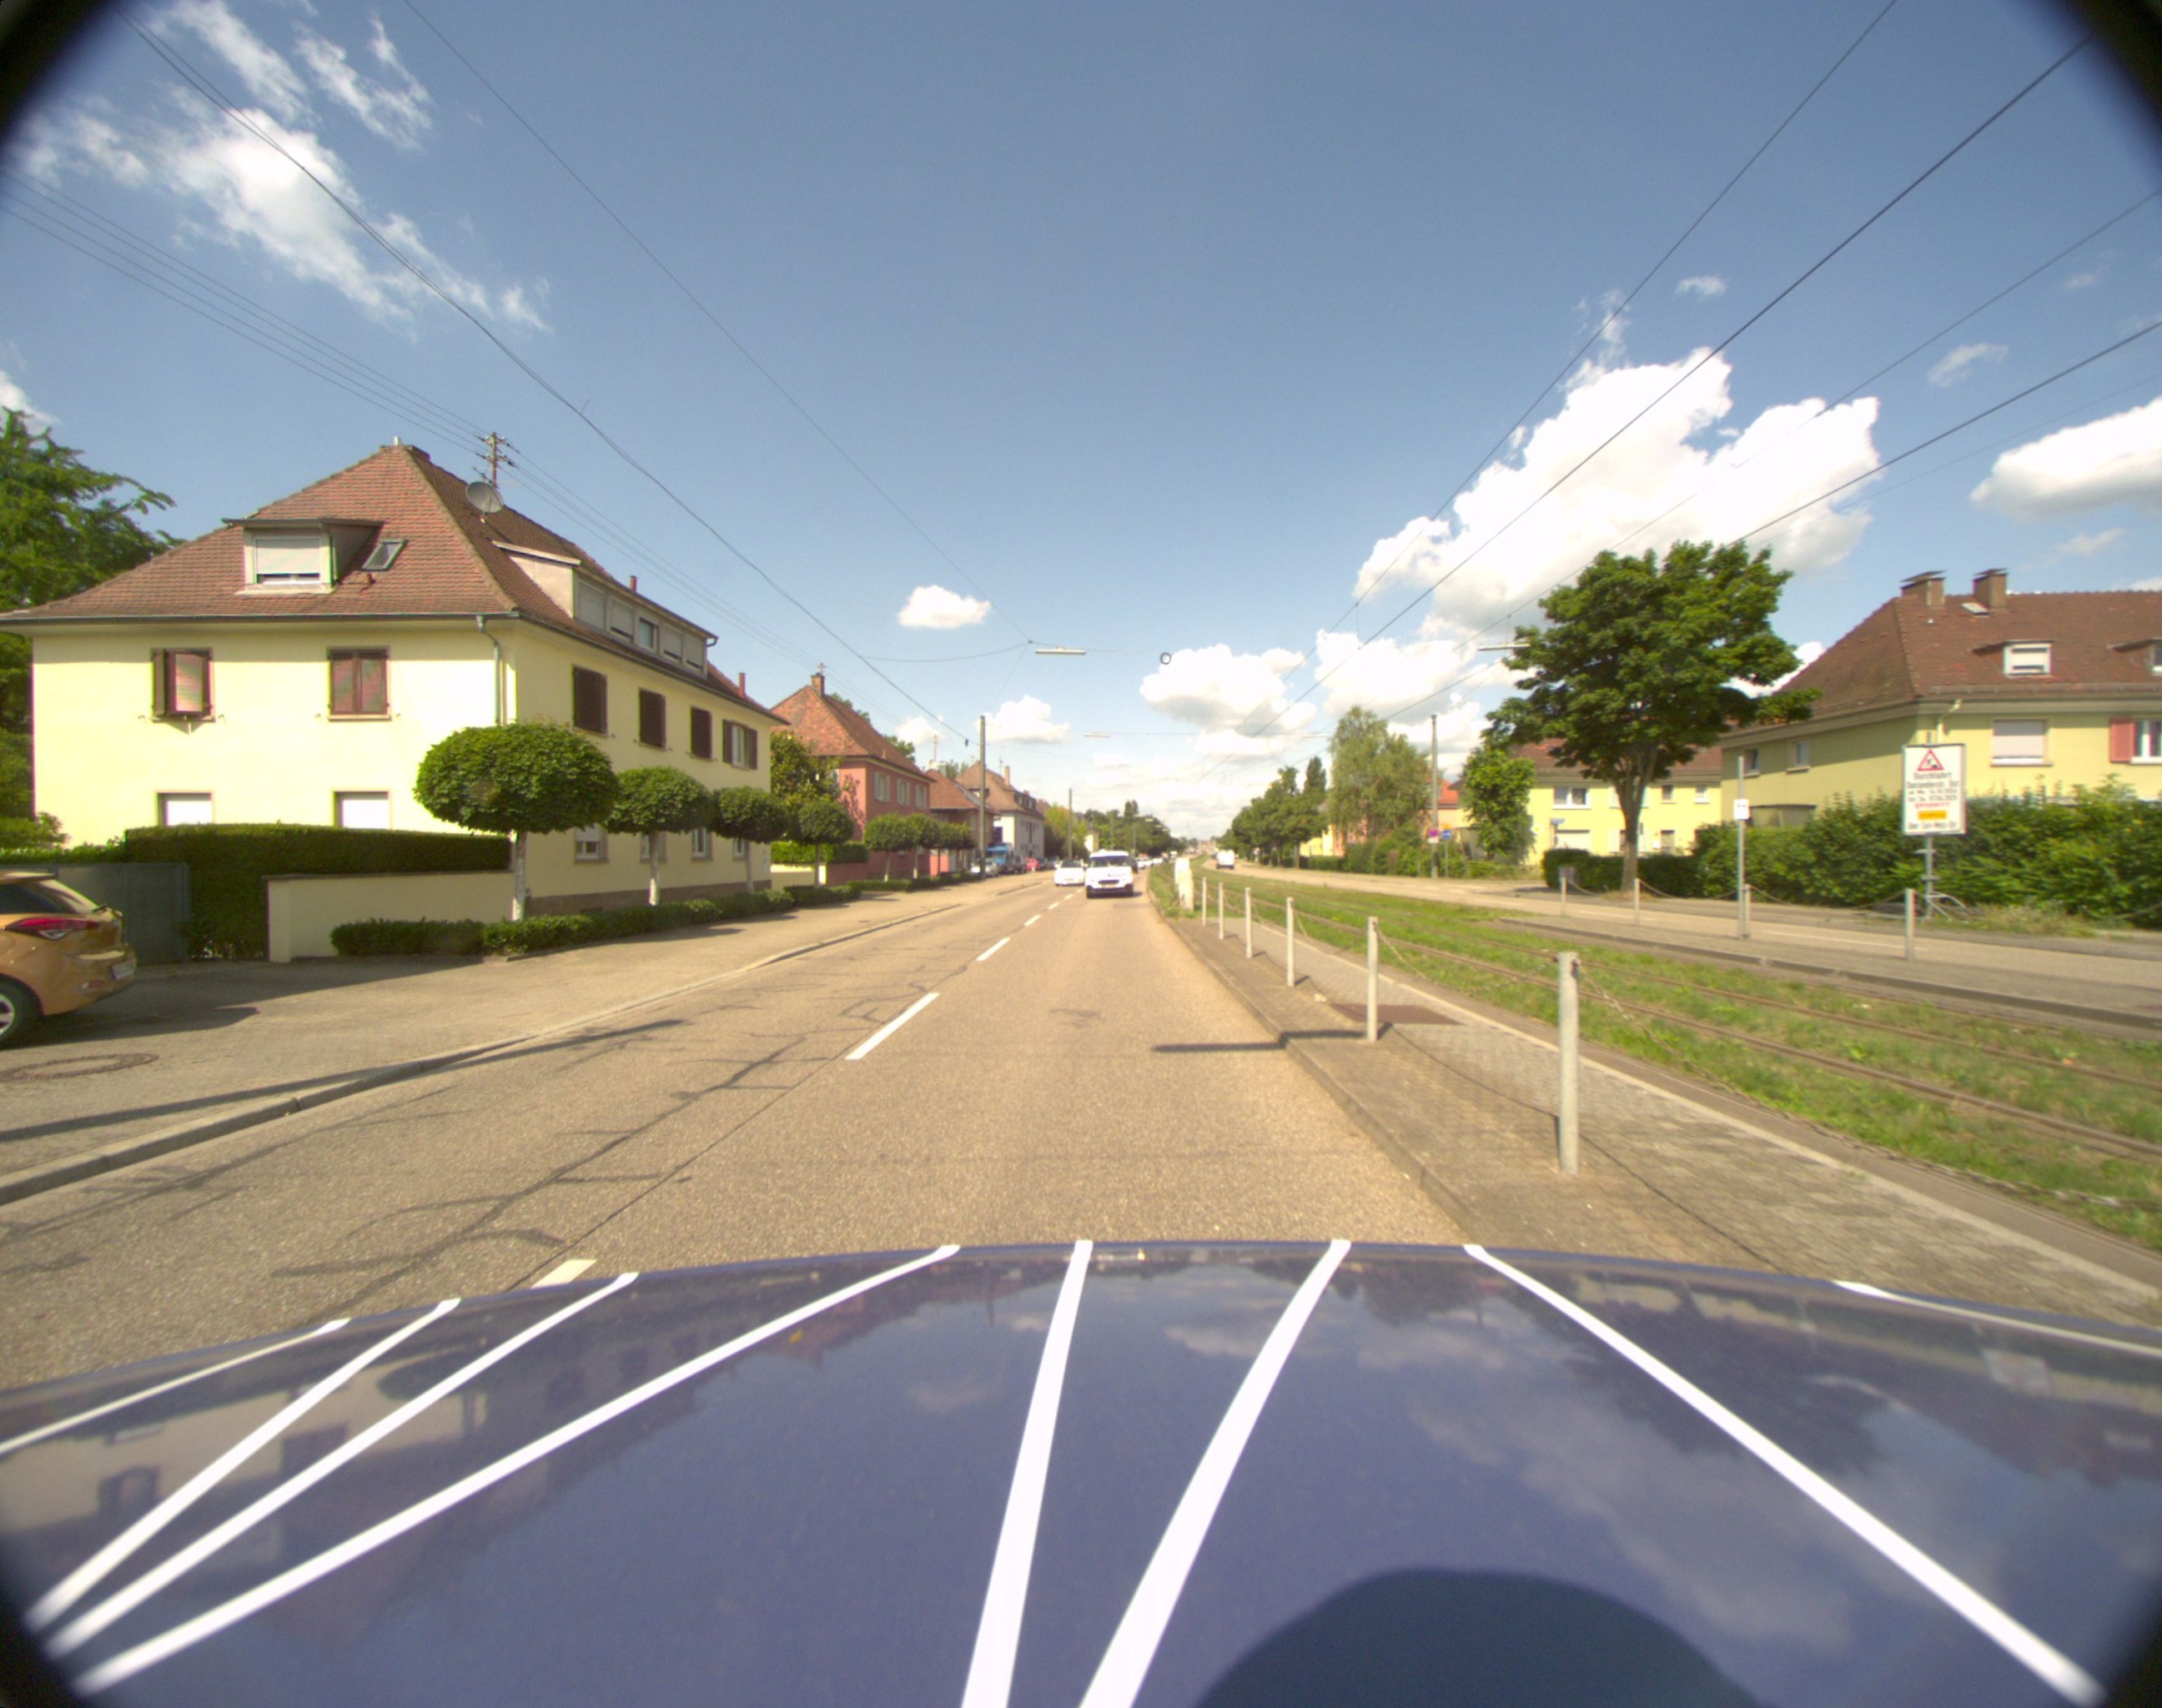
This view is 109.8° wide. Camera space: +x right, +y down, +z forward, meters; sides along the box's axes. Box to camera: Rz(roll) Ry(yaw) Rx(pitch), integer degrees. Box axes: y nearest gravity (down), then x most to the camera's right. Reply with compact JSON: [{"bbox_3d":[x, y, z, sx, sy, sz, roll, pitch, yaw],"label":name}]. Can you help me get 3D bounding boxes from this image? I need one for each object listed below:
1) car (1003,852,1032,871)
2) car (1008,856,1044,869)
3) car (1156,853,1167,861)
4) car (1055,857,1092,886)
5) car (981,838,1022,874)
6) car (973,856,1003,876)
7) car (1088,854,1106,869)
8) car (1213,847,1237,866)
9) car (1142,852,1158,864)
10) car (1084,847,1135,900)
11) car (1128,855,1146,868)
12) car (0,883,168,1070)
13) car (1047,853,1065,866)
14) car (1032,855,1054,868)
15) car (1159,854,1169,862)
[{"bbox_3d":[-5.916,0.698,71.475,1.840,1.701,4.866,2,0,5],"label":"car"},{"bbox_3d":[-5.944,0.913,81.793,3.657,1.372,1.727,-1,1,4],"label":"car"},{"bbox_3d":[16.167,0.666,152.809,1.997,1.477,4.002,-2,1,8],"label":"car"},{"bbox_3d":[-0.378,0.972,44.393,1.777,1.540,4.001,-2,0,4],"label":"car"},{"bbox_3d":[-6.734,0.151,65.267,2.156,2.913,6.246,-2,1,6],"label":"car"},{"bbox_3d":[-7.120,0.886,58.381,1.653,1.401,4.350,0,1,1],"label":"car"},{"bbox_3d":[1.844,0.870,87.145,1.811,1.550,4.254,-2,1,4],"label":"car"},{"bbox_3d":[18.693,0.296,98.545,2.201,2.358,5.332,1,1,2],"label":"car"},{"bbox_3d":[9.890,0.593,108.257,1.997,1.576,4.002,-2,1,9],"label":"car"},{"bbox_3d":[1.191,0.693,29.459,1.777,1.850,4.376,-1,0,4],"label":"car"},{"bbox_3d":[6.984,0.910,94.616,1.997,1.477,4.002,-2,1,8],"label":"car"},{"bbox_3d":[-10.339,0.963,5.738,4.102,1.449,1.911,1,-2,-39],"label":"car"},{"bbox_3d":[-3.151,0.706,97.341,1.760,1.637,4.770,1,1,4],"label":"car"},{"bbox_3d":[-4.334,0.808,87.443,1.802,1.415,4.859,1,0,6],"label":"car"},{"bbox_3d":[18.524,0.875,169.703,1.997,1.477,4.002,-2,1,8],"label":"car"}]
